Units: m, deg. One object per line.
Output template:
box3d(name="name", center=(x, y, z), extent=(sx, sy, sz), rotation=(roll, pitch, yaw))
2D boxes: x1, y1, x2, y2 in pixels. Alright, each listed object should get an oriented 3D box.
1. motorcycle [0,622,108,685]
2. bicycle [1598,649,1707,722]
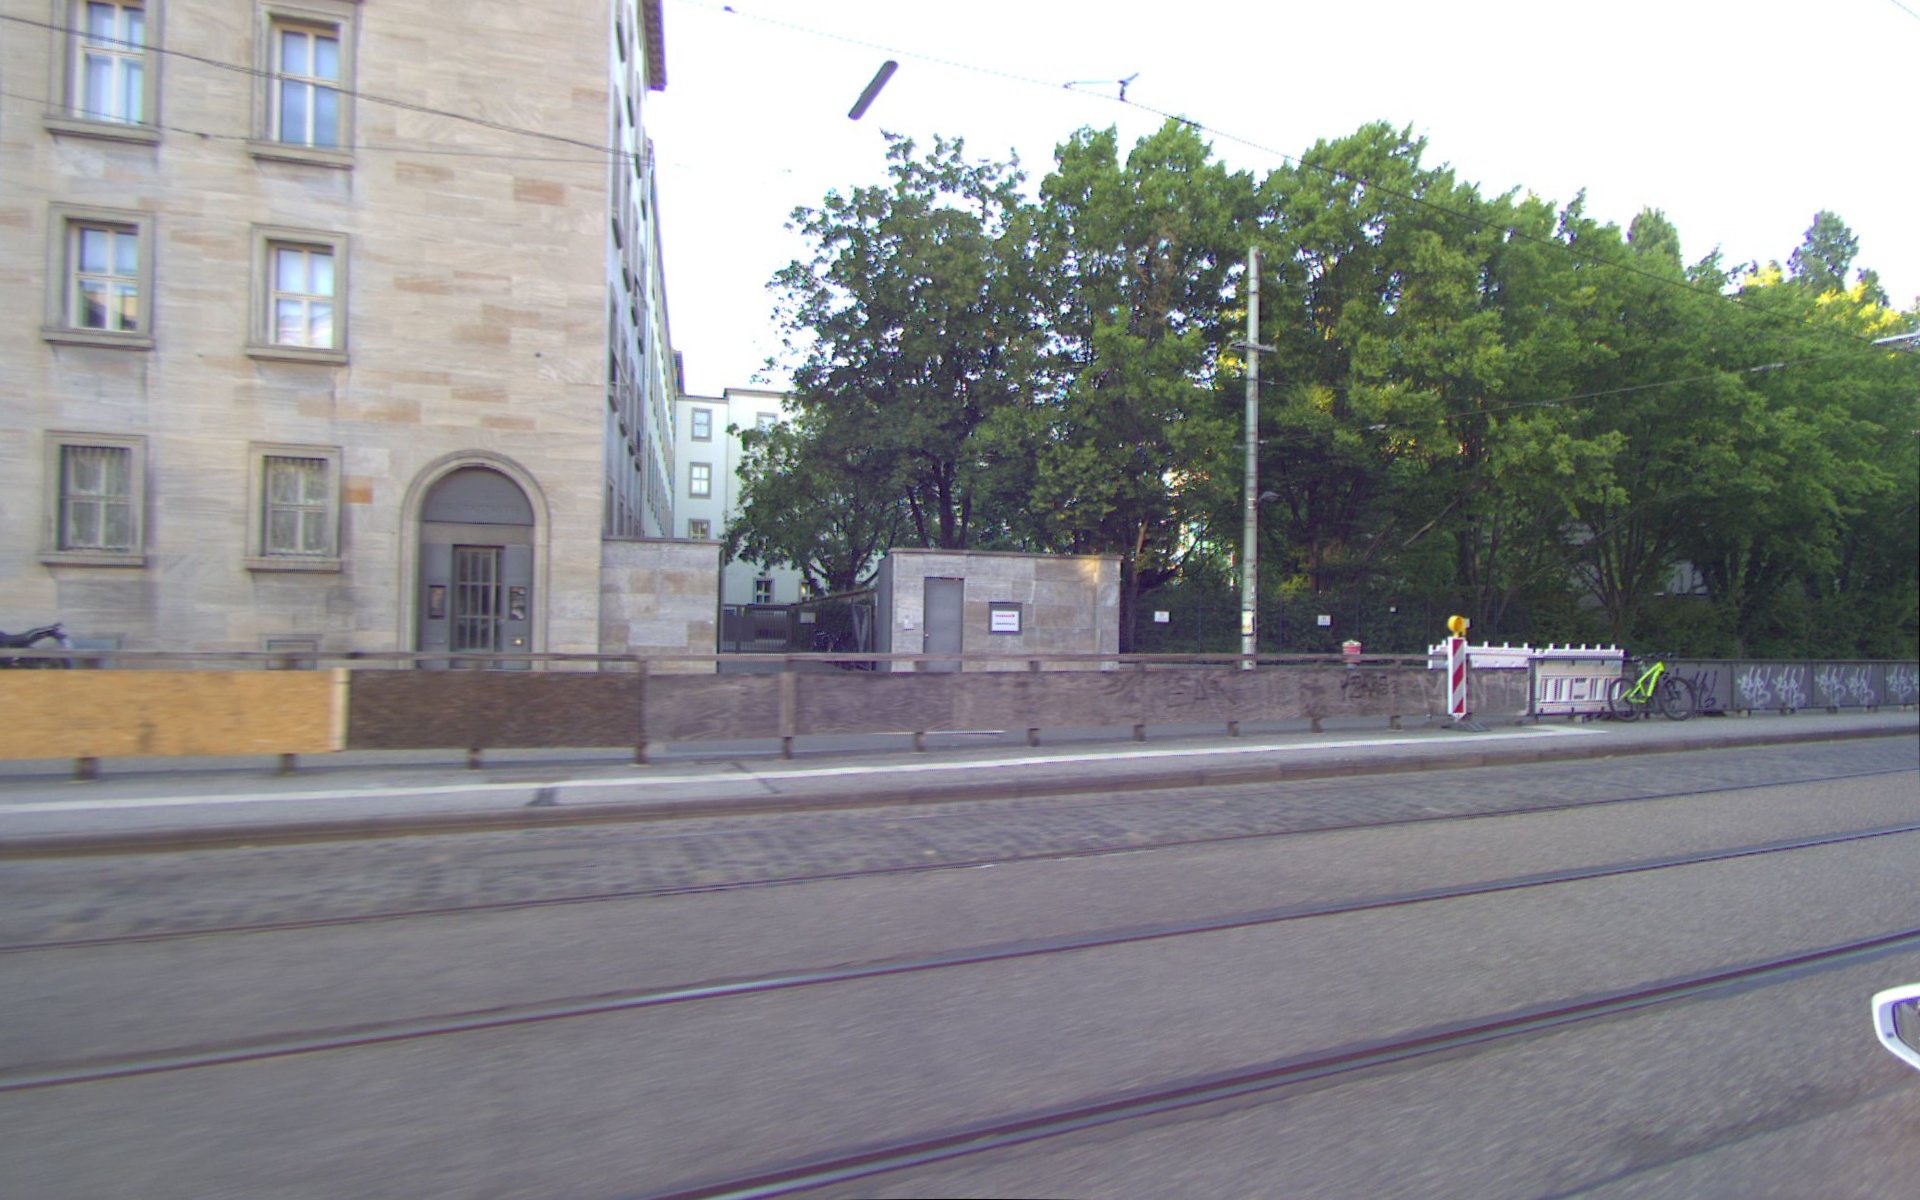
box3d(name="motorcycle", center=(-16.976, 0.948, 17.926), extent=(2.610, 1.089, 0.698), rotation=(1, -2, -16))
box3d(name="bicycle", center=(10.896, 1.325, 15.787), extent=(1.994, 1.089, 0.461), rotation=(2, -2, -25))
